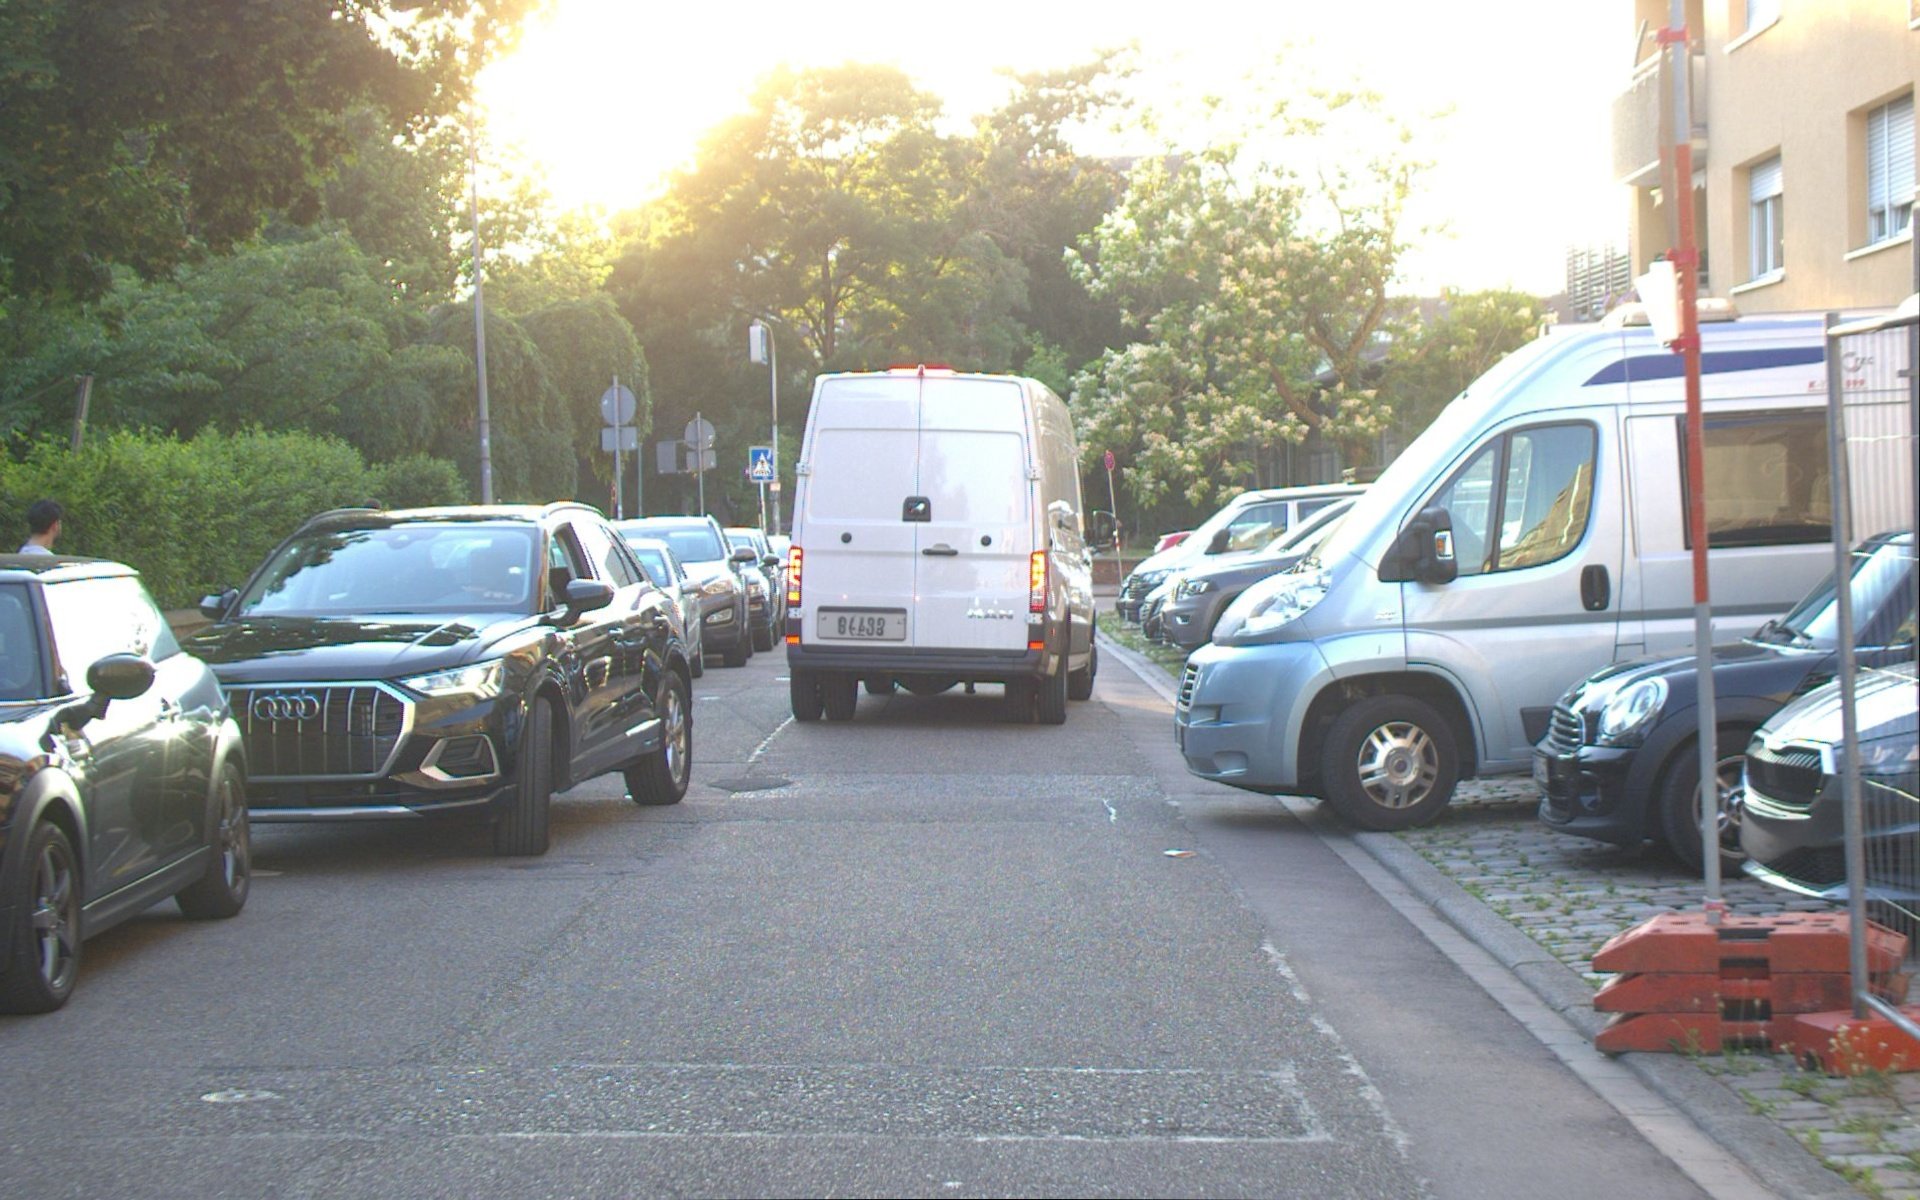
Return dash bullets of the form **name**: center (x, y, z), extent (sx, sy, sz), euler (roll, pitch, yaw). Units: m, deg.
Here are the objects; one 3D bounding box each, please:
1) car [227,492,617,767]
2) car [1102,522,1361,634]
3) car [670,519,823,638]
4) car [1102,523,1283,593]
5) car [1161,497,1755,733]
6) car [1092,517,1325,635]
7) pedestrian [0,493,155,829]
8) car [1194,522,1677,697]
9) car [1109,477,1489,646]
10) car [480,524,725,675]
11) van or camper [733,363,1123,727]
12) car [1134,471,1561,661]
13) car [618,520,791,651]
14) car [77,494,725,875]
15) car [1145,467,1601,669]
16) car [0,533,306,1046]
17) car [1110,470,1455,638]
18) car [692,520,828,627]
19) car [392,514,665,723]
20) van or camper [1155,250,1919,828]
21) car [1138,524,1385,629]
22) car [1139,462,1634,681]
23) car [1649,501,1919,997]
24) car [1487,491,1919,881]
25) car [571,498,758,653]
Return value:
- **car**: center (-3.549, 0.148, 23.394), extent (1.783, 1.625, 4.000), euler (-3, 1, 3)
- **car**: center (4.277, -0.363, 54.669), extent (3.987, 1.722, 2.000), euler (0, 1, 1)
- **car**: center (-2.964, -0.329, 48.468), extent (1.993, 1.612, 4.000), euler (0, 1, -1)
- **car**: center (5.392, -0.988, 79.963), extent (3.986, 1.612, 2.000), euler (0, 1, -3)
- **car**: center (3.620, 0.086, 25.446), extent (3.986, 1.449, 1.836), euler (-3, 1, -3)
- **car**: center (4.292, -0.434, 59.906), extent (3.987, 2.007, 2.000), euler (0, 1, 2)
- **pedestrian**: center (-5.015, 0.326, 19.048), extent (0.938, 1.824, 0.787), euler (0, 1, -1)
- **car**: center (4.392, 0.073, 32.184), extent (4.237, 1.420, 1.719), euler (-2, 1, 0)
- **car**: center (4.346, -0.506, 44.609), extent (4.706, 2.138, 2.000), euler (0, 1, -1)
- **car**: center (-3.433, -0.048, 33.722), extent (1.993, 1.393, 4.000), euler (0, 1, 0)
- **van or camper**: center (-0.094, -0.455, 27.447), extent (2.454, 2.538, 6.082), euler (1, 1, 5)
- **car**: center (4.444, -0.407, 39.930), extent (4.706, 2.138, 2.000), euler (0, 1, -1)
- **car**: center (-3.232, -0.218, 44.148), extent (1.993, 1.612, 4.000), euler (0, 1, -1)
- **car**: center (-2.504, 0.315, 16.647), extent (1.805, 1.564, 4.564), euler (-1, 1, 8)
- **car**: center (4.442, -0.357, 37.503), extent (4.706, 2.138, 2.000), euler (0, 1, -1)
- **car**: center (-3.539, 0.540, 11.890), extent (1.637, 1.473, 3.992), euler (-2, 1, 2)
- **car**: center (4.337, -0.625, 46.740), extent (4.496, 2.223, 2.032), euler (0, 1, 0)
- **car**: center (-3.109, -0.445, 54.177), extent (1.993, 1.612, 4.000), euler (0, 1, -1)
- **car**: center (-3.509, 0.103, 28.625), extent (1.856, 1.549, 4.100), euler (-2, 1, -2)
- **van or camper**: center (4.033, -0.308, 17.558), extent (5.928, 2.760, 2.110), euler (0, 1, 0)
- **car**: center (5.014, -0.410, 57.609), extent (3.987, 1.722, 2.000), euler (0, 1, 1)
- **car**: center (4.225, -0.298, 34.622), extent (4.706, 2.138, 2.000), euler (0, 1, -1)
- **car**: center (4.645, 0.348, 11.847), extent (3.986, 1.510, 2.020), euler (-3, 1, -4)
- **car**: center (4.356, 0.285, 14.583), extent (3.935, 1.481, 1.787), euler (-3, 0, 2)
- **car**: center (-3.298, -0.305, 38.939), extent (1.993, 1.656, 4.001), euler (0, 1, -4)
